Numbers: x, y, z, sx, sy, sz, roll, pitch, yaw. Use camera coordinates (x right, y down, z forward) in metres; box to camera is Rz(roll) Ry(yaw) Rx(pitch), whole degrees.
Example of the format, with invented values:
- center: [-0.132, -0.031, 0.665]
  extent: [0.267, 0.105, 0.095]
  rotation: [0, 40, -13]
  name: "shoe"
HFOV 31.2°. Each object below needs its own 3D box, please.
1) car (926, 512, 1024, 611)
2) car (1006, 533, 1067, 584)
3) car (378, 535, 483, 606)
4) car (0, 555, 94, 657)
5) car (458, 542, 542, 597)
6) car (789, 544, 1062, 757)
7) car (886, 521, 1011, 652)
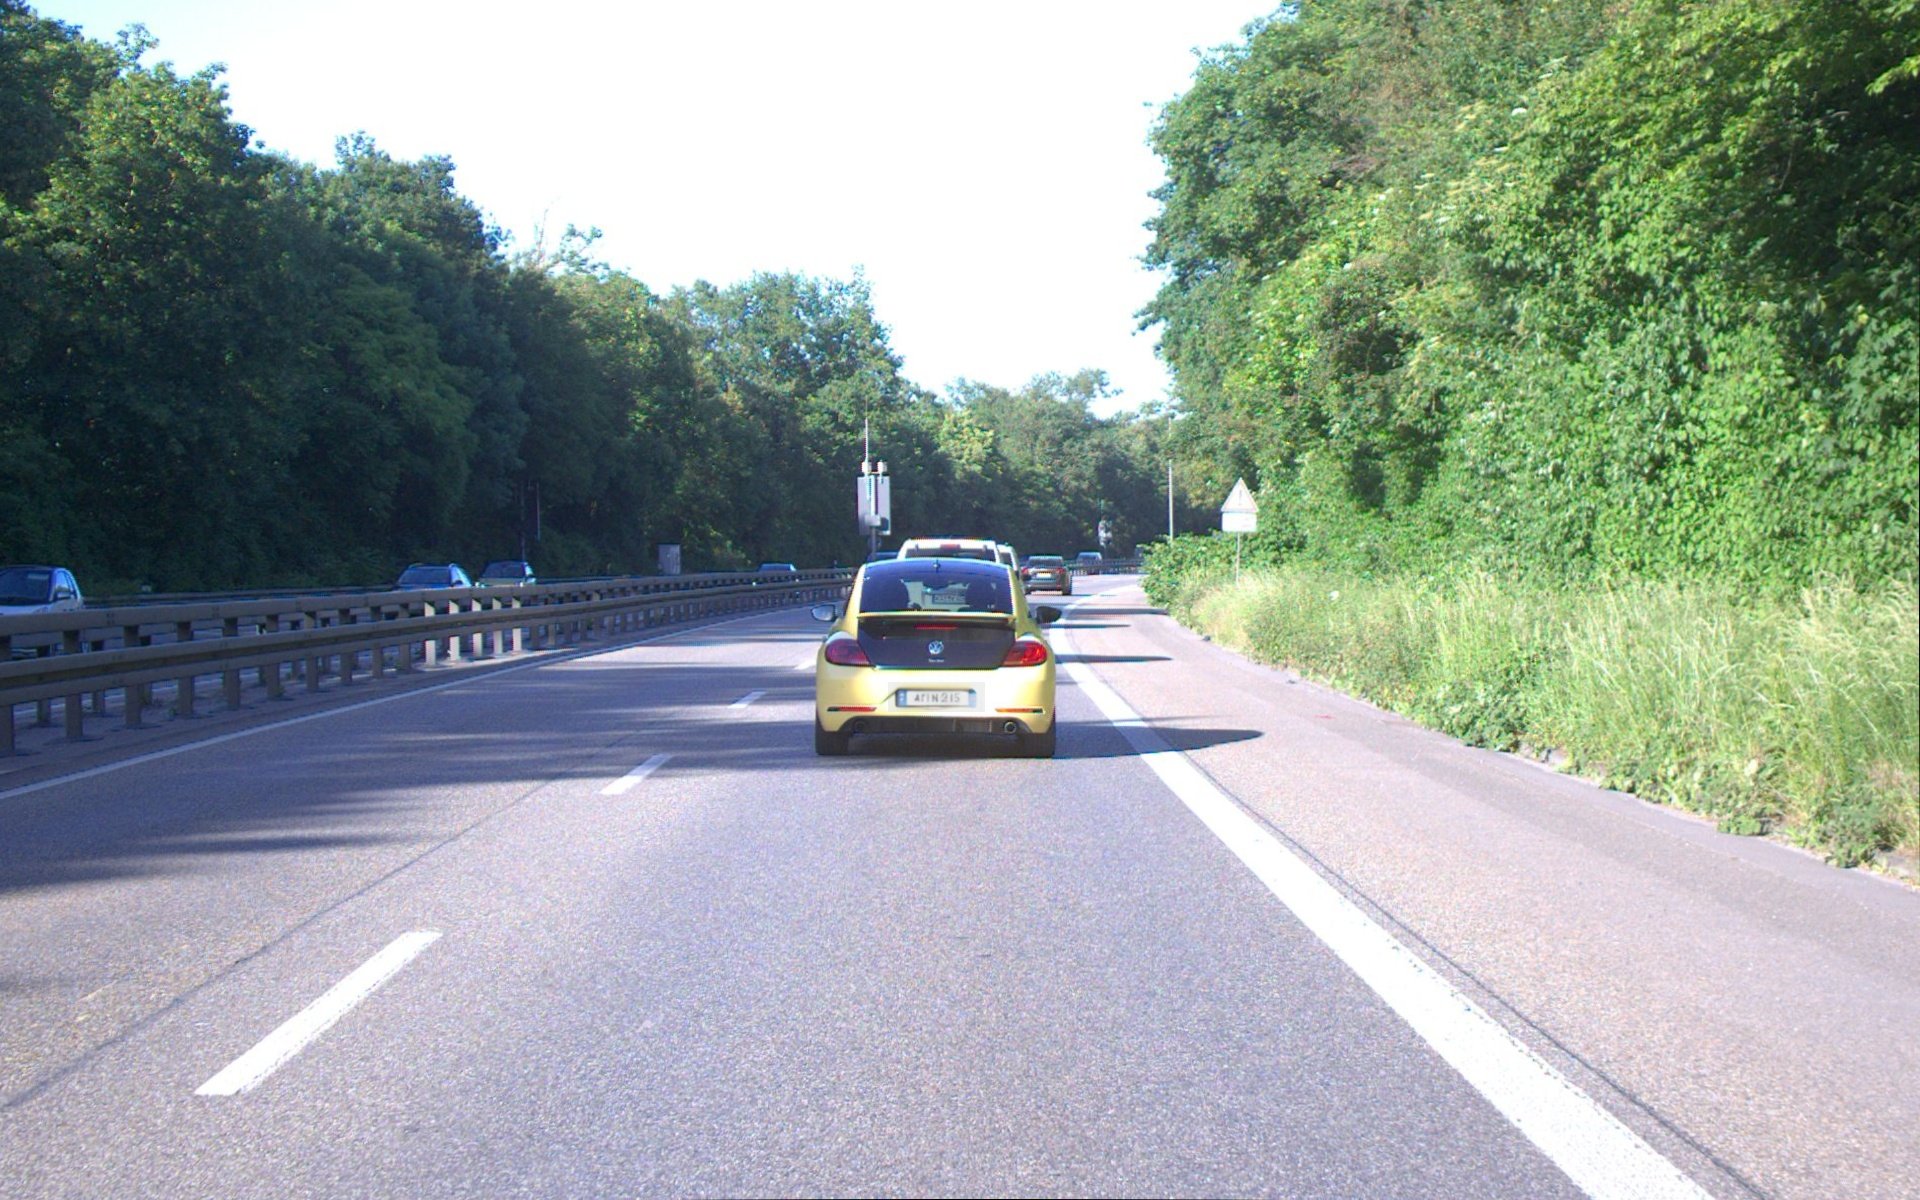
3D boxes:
- center: [0.333, -0.841, 74.286]
  extent: [1.993, 2.007, 4.000]
  rotation: [-2, 1, 1]
  name: "car"
- center: [2.885, -1.592, 130.701]
  extent: [2.263, 1.869, 5.076]
  rotation: [0, 1, 1]
  name: "car"
- center: [-13.952, -0.801, 90.788]
  extent: [1.993, 1.744, 4.551]
  rotation: [-2, 1, 0]
  name: "car"
- center: [-15.358, 0.081, 56.655]
  extent: [1.414, 1.614, 2.875]
  rotation: [-1, 1, 0]
  name: "car"
- center: [-14.229, -0.963, 106.479]
  extent: [1.993, 1.579, 4.000]
  rotation: [-2, 1, 0]
  name: "car"
- center: [-0.214, 0.336, 26.273]
  extent: [1.939, 1.503, 3.422]
  rotation: [0, 1, 1]
  name: "car"
- center: [-0.145, -0.222, 50.342]
  extent: [1.741, 1.823, 3.422]
  rotation: [1, 1, 1]
  name: "car"
